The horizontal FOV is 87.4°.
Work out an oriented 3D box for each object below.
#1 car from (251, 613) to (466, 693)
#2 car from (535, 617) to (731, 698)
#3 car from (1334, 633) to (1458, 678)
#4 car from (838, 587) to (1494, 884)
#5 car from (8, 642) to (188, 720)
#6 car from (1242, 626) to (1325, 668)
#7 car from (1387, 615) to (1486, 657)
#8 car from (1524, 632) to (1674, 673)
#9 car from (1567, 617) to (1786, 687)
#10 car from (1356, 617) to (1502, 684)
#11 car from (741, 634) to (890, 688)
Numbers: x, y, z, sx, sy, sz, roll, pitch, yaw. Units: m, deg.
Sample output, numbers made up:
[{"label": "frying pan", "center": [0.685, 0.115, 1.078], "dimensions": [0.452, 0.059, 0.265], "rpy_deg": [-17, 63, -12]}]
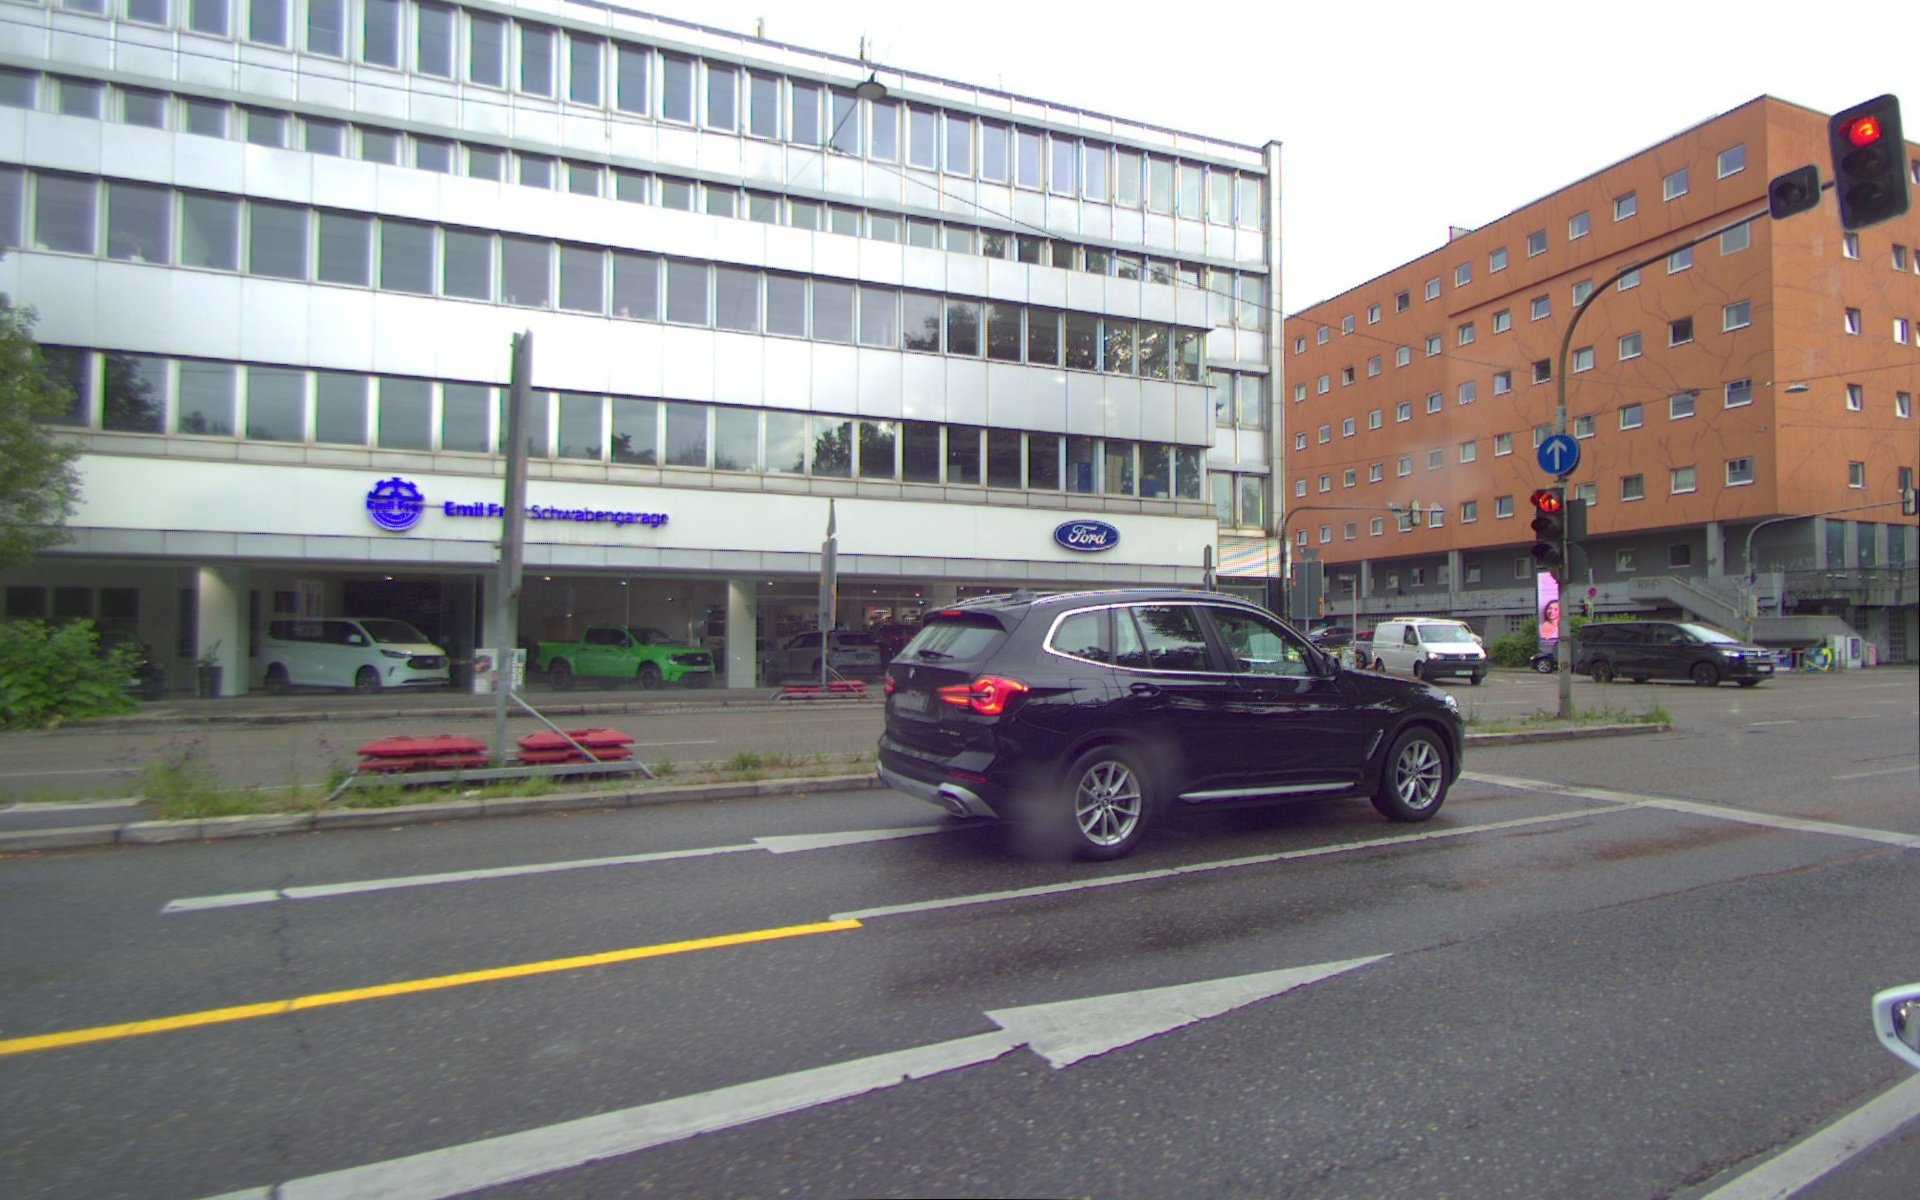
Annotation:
[{"label": "car", "center": [-15.468, 1.389, 25.877], "dimensions": [4.889, 1.922, 2.001], "rpy_deg": [-2, -3, 18]}, {"label": "car", "center": [-8.866, 1.587, 27.195], "dimensions": [5.109, 2.037, 1.998], "rpy_deg": [-2, -4, 27]}, {"label": "car", "center": [17.683, 2.197, 40.960], "dimensions": [1.858, 1.659, 4.492], "rpy_deg": [1, -1, -28]}, {"label": "car", "center": [1.599, 0.740, 7.427], "dimensions": [4.611, 1.619, 1.939], "rpy_deg": [0, 0, -28]}, {"label": "car", "center": [-19.411, 1.797, 22.605], "dimensions": [3.932, 1.594, 1.995], "rpy_deg": [-3, -4, 33]}, {"label": "car", "center": [13.460, 2.003, 42.072], "dimensions": [1.960, 1.659, 4.828], "rpy_deg": [-1, -3, 1]}, {"label": "car", "center": [25.417, 1.925, 53.572], "dimensions": [4.780, 2.041, 1.990], "rpy_deg": [2, 2, -21]}, {"label": "car", "center": [24.627, 1.993, 38.865], "dimensions": [1.757, 1.470, 4.572], "rpy_deg": [2, -3, -36]}, {"label": "car", "center": [20.869, 1.539, 29.600], "dimensions": [1.968, 1.869, 5.075], "rpy_deg": [1, -3, -18]}, {"label": "car", "center": [14.899, 1.646, 32.298], "dimensions": [1.961, 1.957, 5.212], "rpy_deg": [0, -3, -3]}, {"label": "car", "center": [-4.544, 1.884, 30.931], "dimensions": [1.986, 1.540, 5.140], "rpy_deg": [3, -5, -43]}]
